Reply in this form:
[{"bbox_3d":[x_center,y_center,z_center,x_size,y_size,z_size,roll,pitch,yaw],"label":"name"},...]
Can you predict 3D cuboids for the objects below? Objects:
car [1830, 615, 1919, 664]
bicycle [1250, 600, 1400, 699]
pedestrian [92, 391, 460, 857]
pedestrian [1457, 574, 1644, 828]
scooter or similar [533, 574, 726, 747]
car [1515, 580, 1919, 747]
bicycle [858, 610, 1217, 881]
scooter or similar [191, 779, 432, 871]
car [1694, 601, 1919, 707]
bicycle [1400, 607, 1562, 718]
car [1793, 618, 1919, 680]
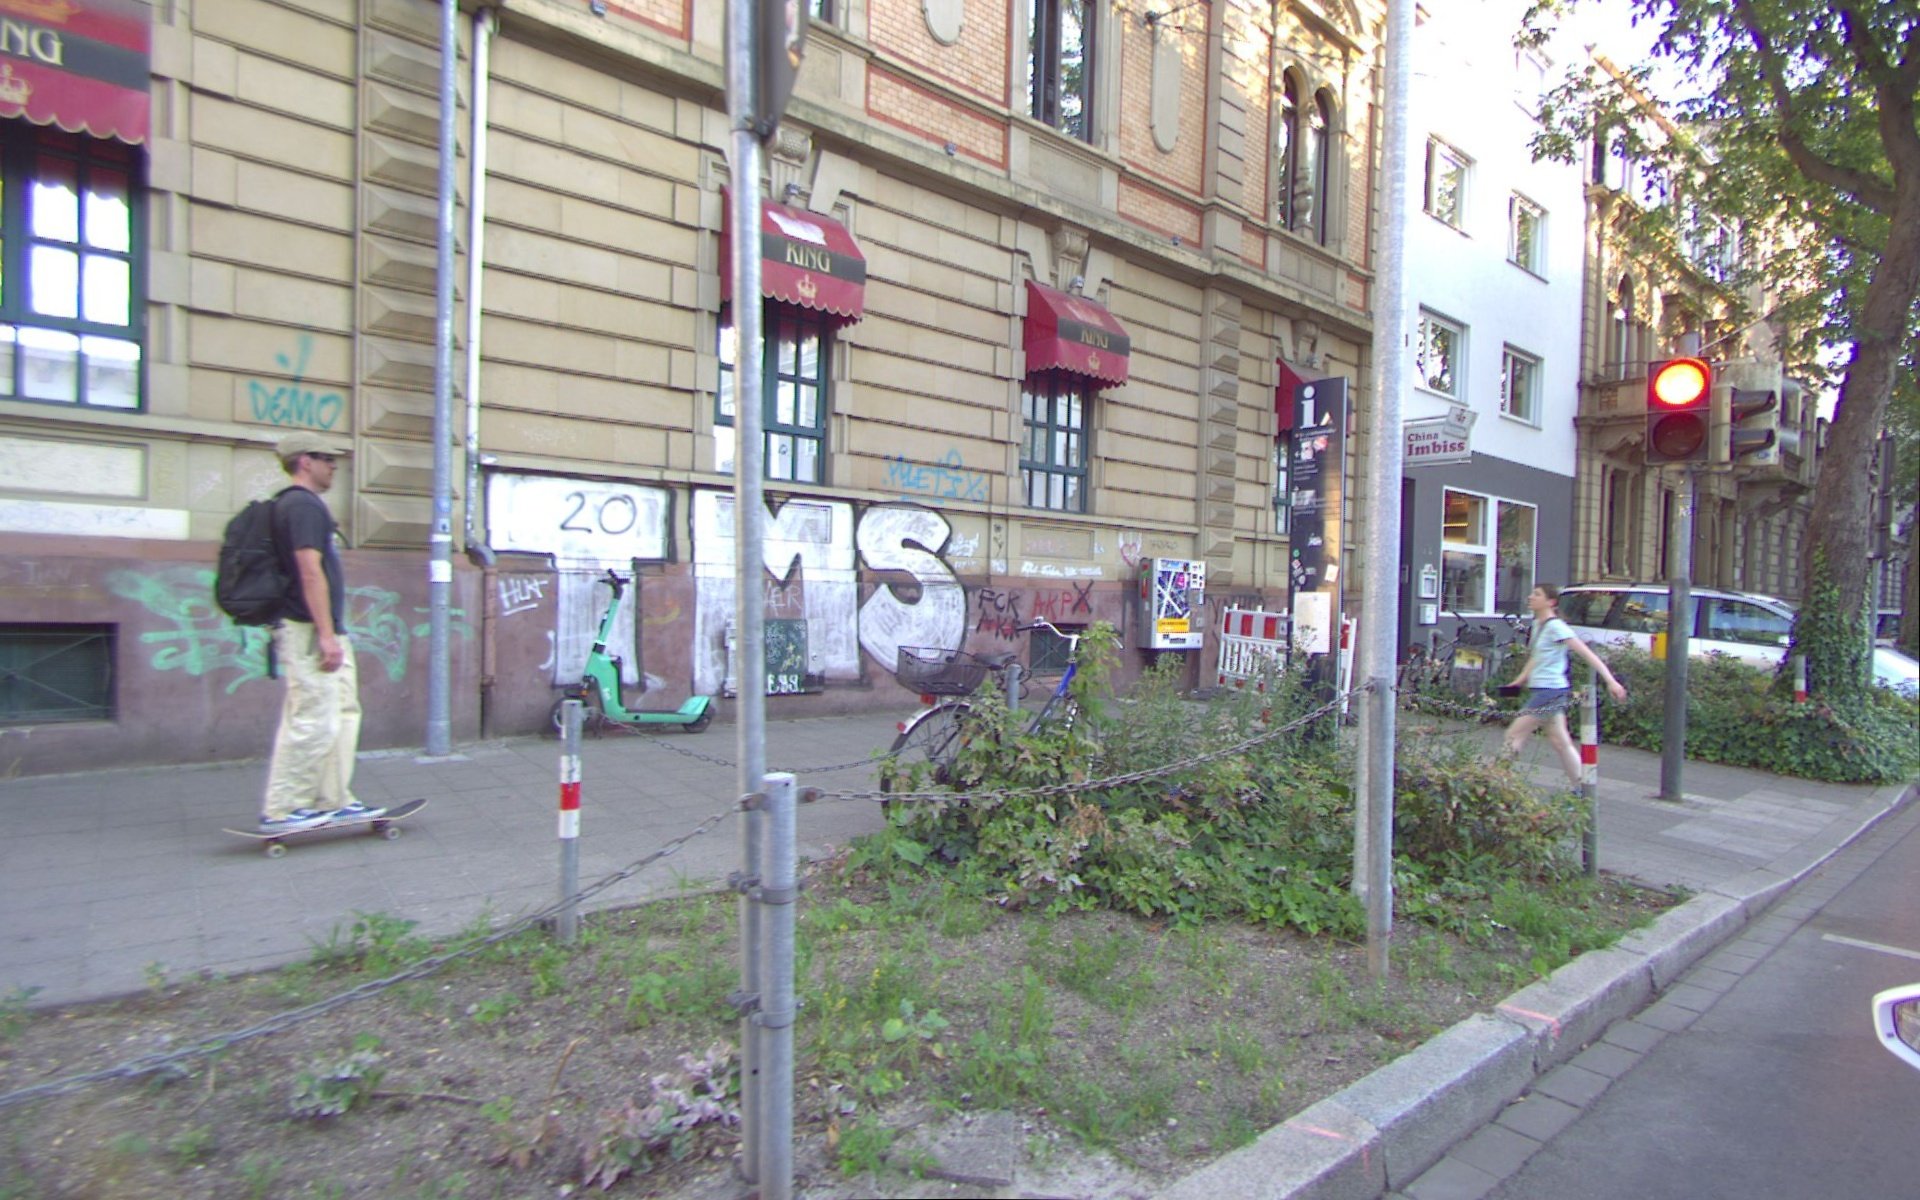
[{"bbox_3d":[33.347,1.399,35.221,1.817,1.611,4.007,1,0,-38],"label":"car"},{"bbox_3d":[4.934,0.635,13.463,2.541,1.218,0.631,1,0,-38],"label":"bicycle"},{"bbox_3d":[-3.016,0.085,4.511,1.254,1.762,0.842,0,2,-36],"label":"pedestrian"},{"bbox_3d":[4.049,0.640,6.946,0.962,1.578,0.700,4,2,30],"label":"pedestrian"},{"bbox_3d":[-2.431,0.431,7.404,1.271,1.183,0.436,2,2,-28],"label":"scooter or similar"},{"bbox_3d":[10.127,0.696,13.295,1.819,1.859,4.507,1,0,-41],"label":"car"},{"bbox_3d":[0.488,0.657,5.289,2.084,1.169,0.506,1,3,-40],"label":"bicycle"},{"bbox_3d":[-2.875,0.986,4.486,0.873,0.210,0.414,0,3,-36],"label":"scooter or similar"},{"bbox_3d":[16.038,0.919,17.853,1.817,1.711,4.512,1,0,-38],"label":"car"},{"bbox_3d":[6.450,0.726,12.358,2.611,1.202,0.728,1,2,-39],"label":"bicycle"},{"bbox_3d":[23.610,1.224,24.717,1.817,1.390,4.512,1,0,-38],"label":"car"}]
